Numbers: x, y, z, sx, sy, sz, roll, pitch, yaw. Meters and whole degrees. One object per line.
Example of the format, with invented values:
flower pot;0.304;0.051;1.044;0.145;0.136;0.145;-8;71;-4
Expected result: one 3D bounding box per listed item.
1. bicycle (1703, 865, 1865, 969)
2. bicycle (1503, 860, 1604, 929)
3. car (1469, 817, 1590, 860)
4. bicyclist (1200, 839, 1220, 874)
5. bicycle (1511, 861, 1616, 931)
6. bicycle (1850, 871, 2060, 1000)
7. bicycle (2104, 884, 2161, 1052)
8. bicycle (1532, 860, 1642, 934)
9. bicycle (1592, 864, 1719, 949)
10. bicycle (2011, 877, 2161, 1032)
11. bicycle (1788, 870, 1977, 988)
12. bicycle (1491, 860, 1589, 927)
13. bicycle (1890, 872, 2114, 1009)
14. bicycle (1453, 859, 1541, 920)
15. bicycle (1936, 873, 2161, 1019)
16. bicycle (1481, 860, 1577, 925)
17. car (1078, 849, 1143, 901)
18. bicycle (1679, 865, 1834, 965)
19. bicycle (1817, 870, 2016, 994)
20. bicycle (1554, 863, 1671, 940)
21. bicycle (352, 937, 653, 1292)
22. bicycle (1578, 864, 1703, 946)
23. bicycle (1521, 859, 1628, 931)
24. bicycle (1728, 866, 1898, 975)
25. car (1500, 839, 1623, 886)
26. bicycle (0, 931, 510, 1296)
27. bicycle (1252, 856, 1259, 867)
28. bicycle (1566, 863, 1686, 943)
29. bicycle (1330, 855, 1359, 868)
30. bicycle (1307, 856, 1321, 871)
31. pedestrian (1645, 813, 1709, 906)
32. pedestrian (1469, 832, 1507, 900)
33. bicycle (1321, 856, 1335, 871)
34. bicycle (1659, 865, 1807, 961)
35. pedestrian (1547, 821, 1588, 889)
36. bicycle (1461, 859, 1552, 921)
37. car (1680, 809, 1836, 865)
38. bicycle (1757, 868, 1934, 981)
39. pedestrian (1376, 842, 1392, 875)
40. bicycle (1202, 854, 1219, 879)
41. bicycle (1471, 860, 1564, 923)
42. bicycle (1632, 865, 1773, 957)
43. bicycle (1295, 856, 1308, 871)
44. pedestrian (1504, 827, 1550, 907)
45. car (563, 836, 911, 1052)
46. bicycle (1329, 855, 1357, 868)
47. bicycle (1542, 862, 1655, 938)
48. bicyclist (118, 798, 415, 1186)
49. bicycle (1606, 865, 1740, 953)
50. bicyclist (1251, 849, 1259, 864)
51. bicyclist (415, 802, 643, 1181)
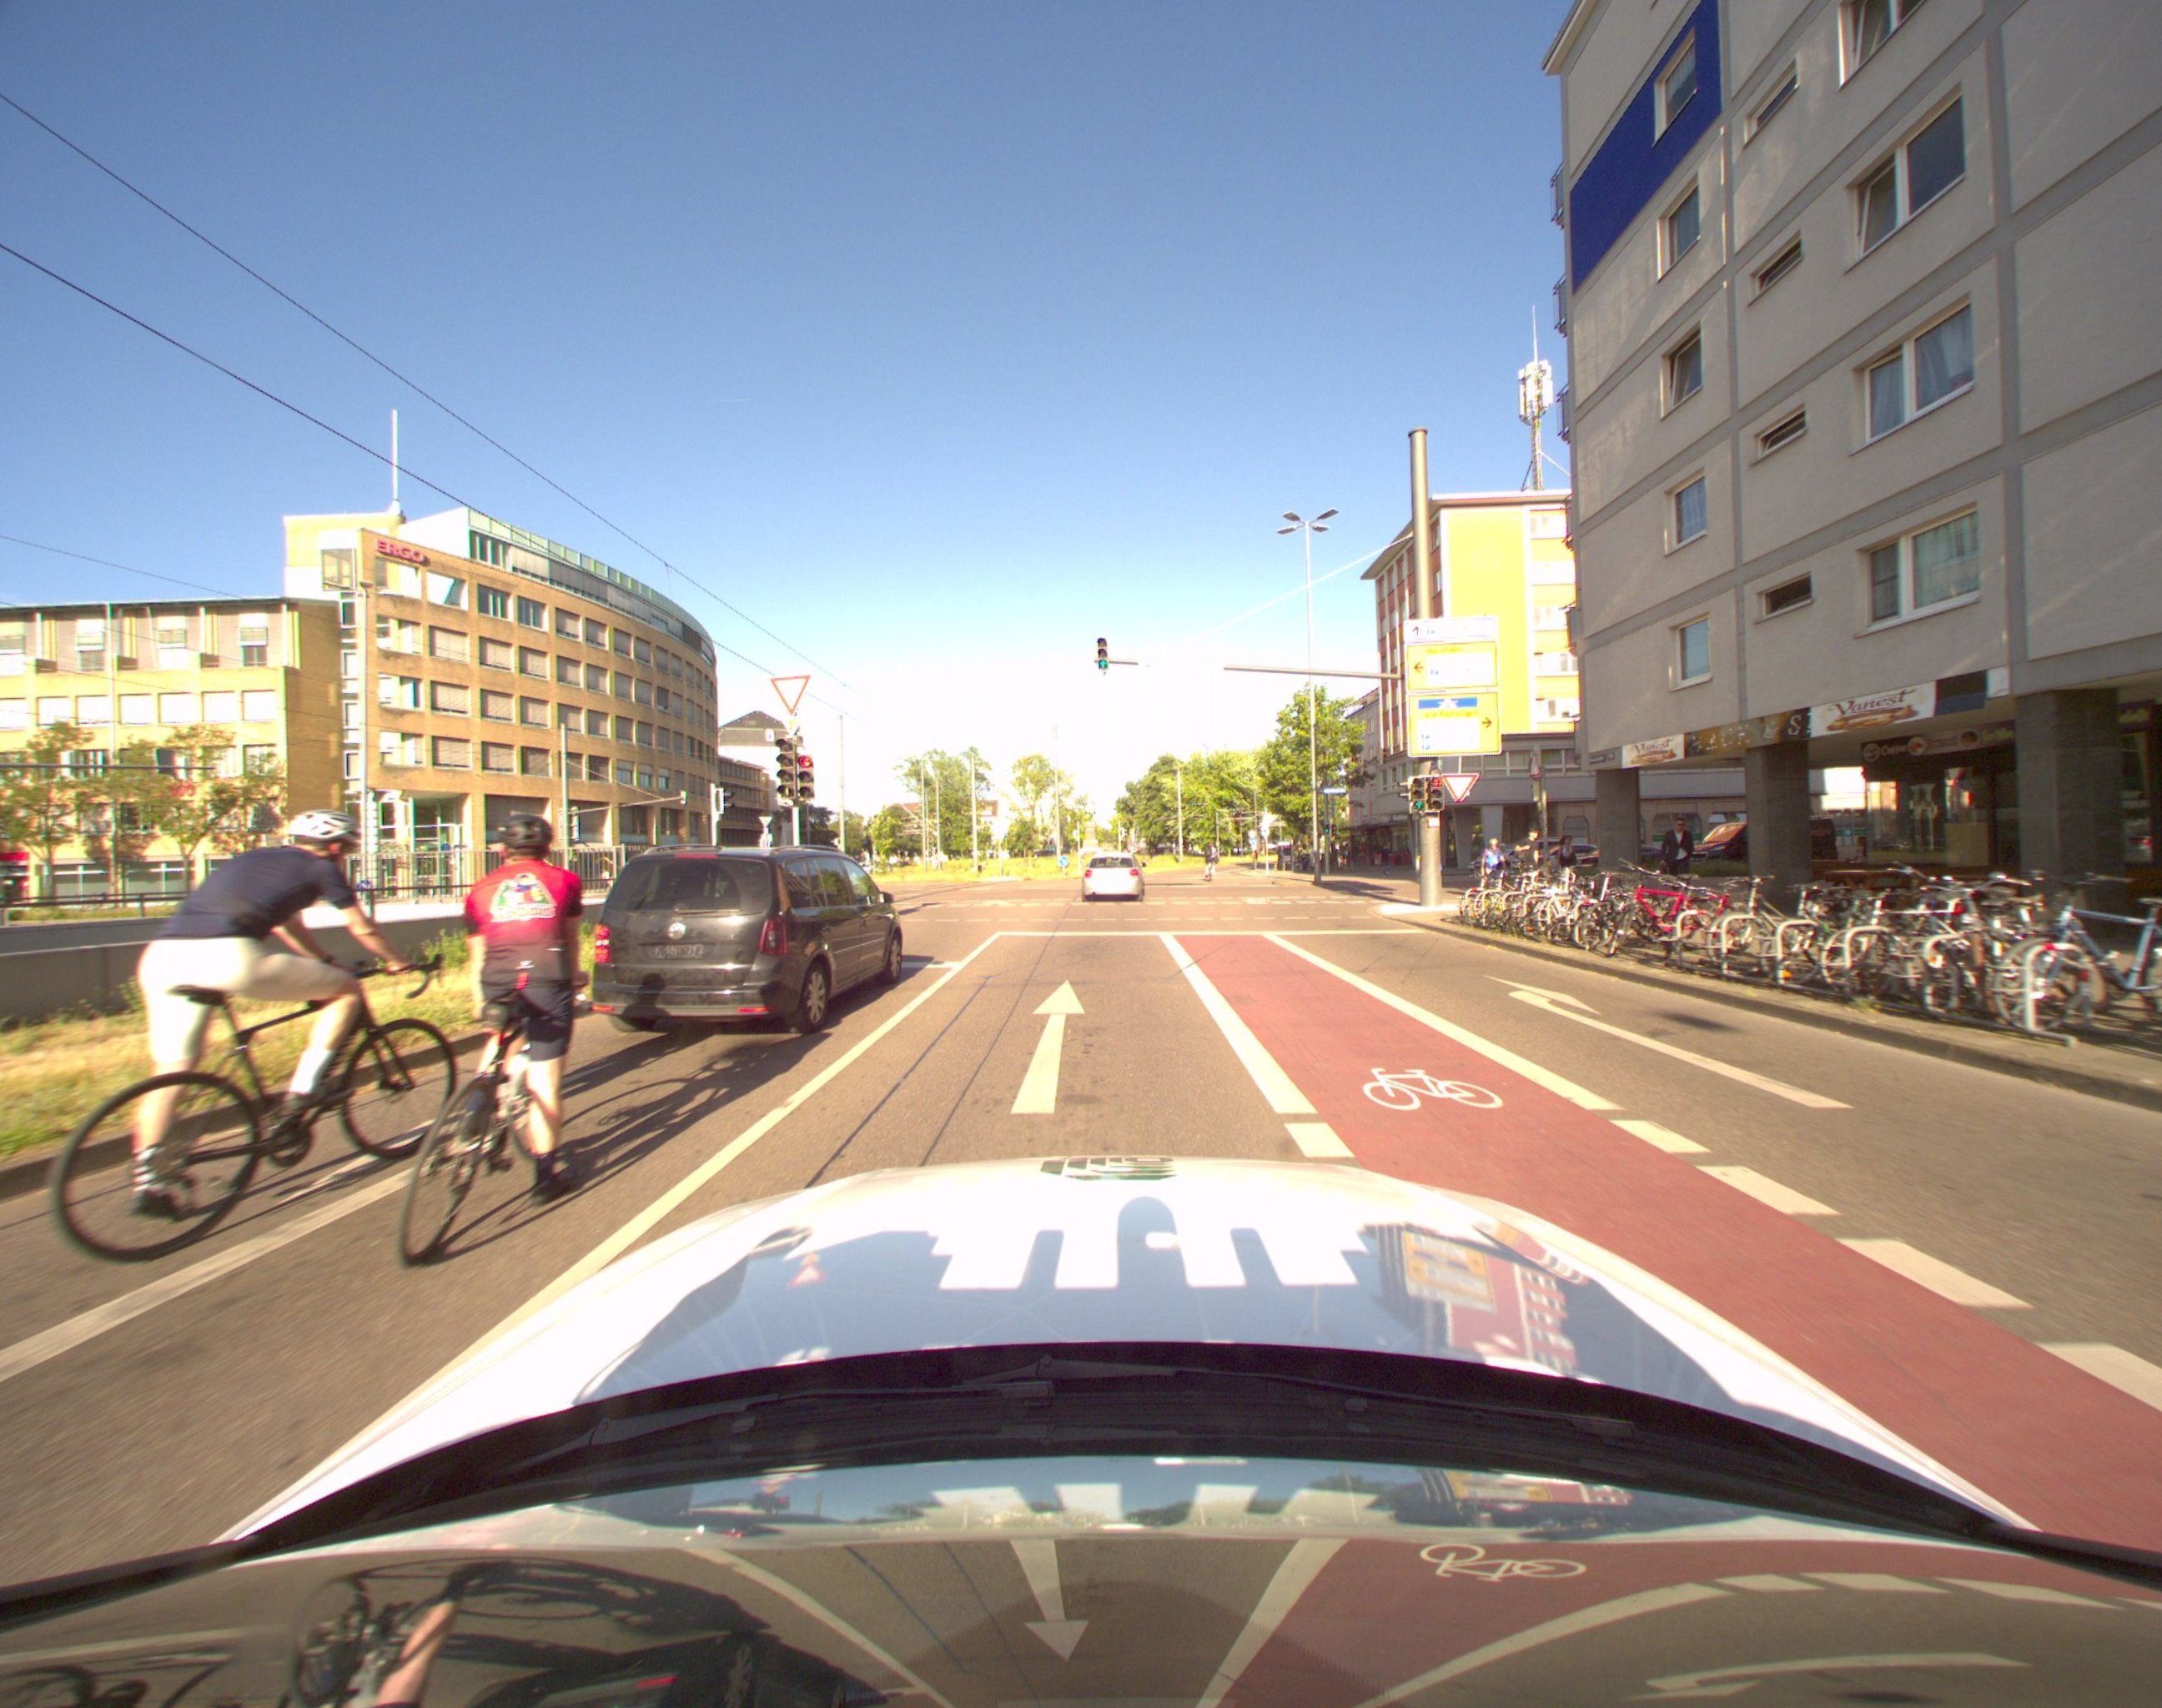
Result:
bicycle;7.685;0.686;8.924;1.459;1.067;0.257;-2;-1;3
bicycle;7.831;0.668;13.523;1.459;1.067;0.257;-2;-1;3
car;21.817;-0.746;39.811;4.709;2.014;2.261;0;0;3
bicyclist;5.656;0.097;35.695;0.782;1.531;0.895;0;0;1
bicycle;7.793;0.675;13.169;1.459;1.067;0.257;-2;-1;3
bicycle;7.693;0.712;7.188;1.459;1.067;0.257;-2;-1;3
bicycle;7.731;0.722;5.389;1.459;1.067;0.257;-2;-1;3
bicycle;7.778;0.652;12.540;1.459;1.067;0.257;-2;-1;3
bicycle;7.708;0.705;10.945;1.459;1.067;0.257;-2;-1;3
bicycle;7.753;0.720;5.968;1.459;1.067;0.257;-2;-1;3
bicycle;7.710;0.716;7.855;1.459;1.067;0.257;-2;-1;3
bicycle;7.816;0.673;13.886;1.459;1.067;0.257;-2;-1;3
bicycle;7.680;0.720;6.815;1.459;1.067;0.257;-2;-1;3
bicycle;7.831;0.665;15.363;1.459;1.067;0.257;-2;-1;3
bicycle;7.685;0.718;6.438;1.459;1.067;0.257;-2;-1;3
bicycle;7.832;0.669;14.262;1.459;1.067;0.257;-2;-1;3
car;0.921;0.586;24.812;1.791;1.415;4.003;-1;0;2
bicycle;7.690;0.687;9.291;1.459;1.067;0.257;-2;-1;3
bicycle;7.704;0.714;7.532;1.459;1.067;0.257;-2;-1;3
bicycle;7.750;0.689;11.898;1.459;1.067;0.257;-2;-1;3
bicycle;-2.498;1.002;3.752;0.338;1.056;1.773;0;0;-8
bicycle;7.724;0.704;11.262;1.459;1.067;0.257;-2;-1;3
bicycle;7.778;0.641;12.861;1.459;1.067;0.257;-2;-1;3
bicycle;7.695;0.696;8.580;1.459;1.067;0.257;-2;-1;3
car;21.464;0.382;36.500;4.343;2.014;1.974;0;0;3
bicycle;-3.560;0.972;3.751;0.372;1.056;1.957;0;0;3
bicycle;15.532;0.654;72.639;0.350;0.958;1.574;0;0;3
bicycle;7.731;0.689;11.576;1.459;1.067;0.257;-2;-1;3
bicycle;23.130;0.652;71.482;2.297;1.068;0.559;0;0;24
bicycle;16.162;0.678;56.546;0.415;1.008;1.945;0;0;1
pedestrian;13.145;0.117;17.980;0.838;2.014;0.892;0;0;11
pedestrian;11.452;0.330;22.936;0.819;1.856;0.921;0;0;16
bicycle;17.137;0.677;56.527;0.415;1.008;1.945;0;0;1
bicycle;7.697;0.693;9.634;1.459;1.067;0.257;-2;-1;3
pedestrian;14.843;0.035;24.870;0.870;2.014;0.916;0;0;16
bicycle;7.819;0.658;14.985;1.459;1.067;0.257;-2;-1;3
car;27.703;-0.669;33.454;4.573;2.212;2.190;0;0;3
bicycle;7.714;0.707;8.234;1.459;1.067;0.257;-2;-1;2
pedestrian;17.449;0.257;46.925;0.704;1.919;0.705;0;0;5
bicycle;5.672;0.528;35.712;0.497;1.088;1.998;0;0;2
bicycle;7.840;0.673;14.636;1.459;1.067;0.257;-2;-1;3
bicycle;7.668;0.701;10.062;1.459;1.067;0.257;-2;-1;3
bicycle;15.446;0.640;56.953;0.415;1.008;1.945;0;0;1
pedestrian;11.488;0.322;21.009;0.786;2.014;0.872;0;0;8
car;-3.066;0.686;8.265;1.698;1.622;4.002;-1;0;2
bicycle;22.837;0.628;70.912;2.297;1.068;0.559;0;0;24
bicycle;7.757;0.689;12.223;1.459;1.067;0.257;-2;-1;3
bicyclist;-3.599;0.559;3.658;0.614;1.572;0.687;0;0;3
bicycle;7.692;0.713;10.602;1.459;1.067;0.257;-2;-1;3
bicyclist;15.503;0.241;72.550;0.614;1.380;0.687;0;0;3
bicyclist;-2.506;0.568;3.779;0.616;1.571;0.684;-1;0;-10
